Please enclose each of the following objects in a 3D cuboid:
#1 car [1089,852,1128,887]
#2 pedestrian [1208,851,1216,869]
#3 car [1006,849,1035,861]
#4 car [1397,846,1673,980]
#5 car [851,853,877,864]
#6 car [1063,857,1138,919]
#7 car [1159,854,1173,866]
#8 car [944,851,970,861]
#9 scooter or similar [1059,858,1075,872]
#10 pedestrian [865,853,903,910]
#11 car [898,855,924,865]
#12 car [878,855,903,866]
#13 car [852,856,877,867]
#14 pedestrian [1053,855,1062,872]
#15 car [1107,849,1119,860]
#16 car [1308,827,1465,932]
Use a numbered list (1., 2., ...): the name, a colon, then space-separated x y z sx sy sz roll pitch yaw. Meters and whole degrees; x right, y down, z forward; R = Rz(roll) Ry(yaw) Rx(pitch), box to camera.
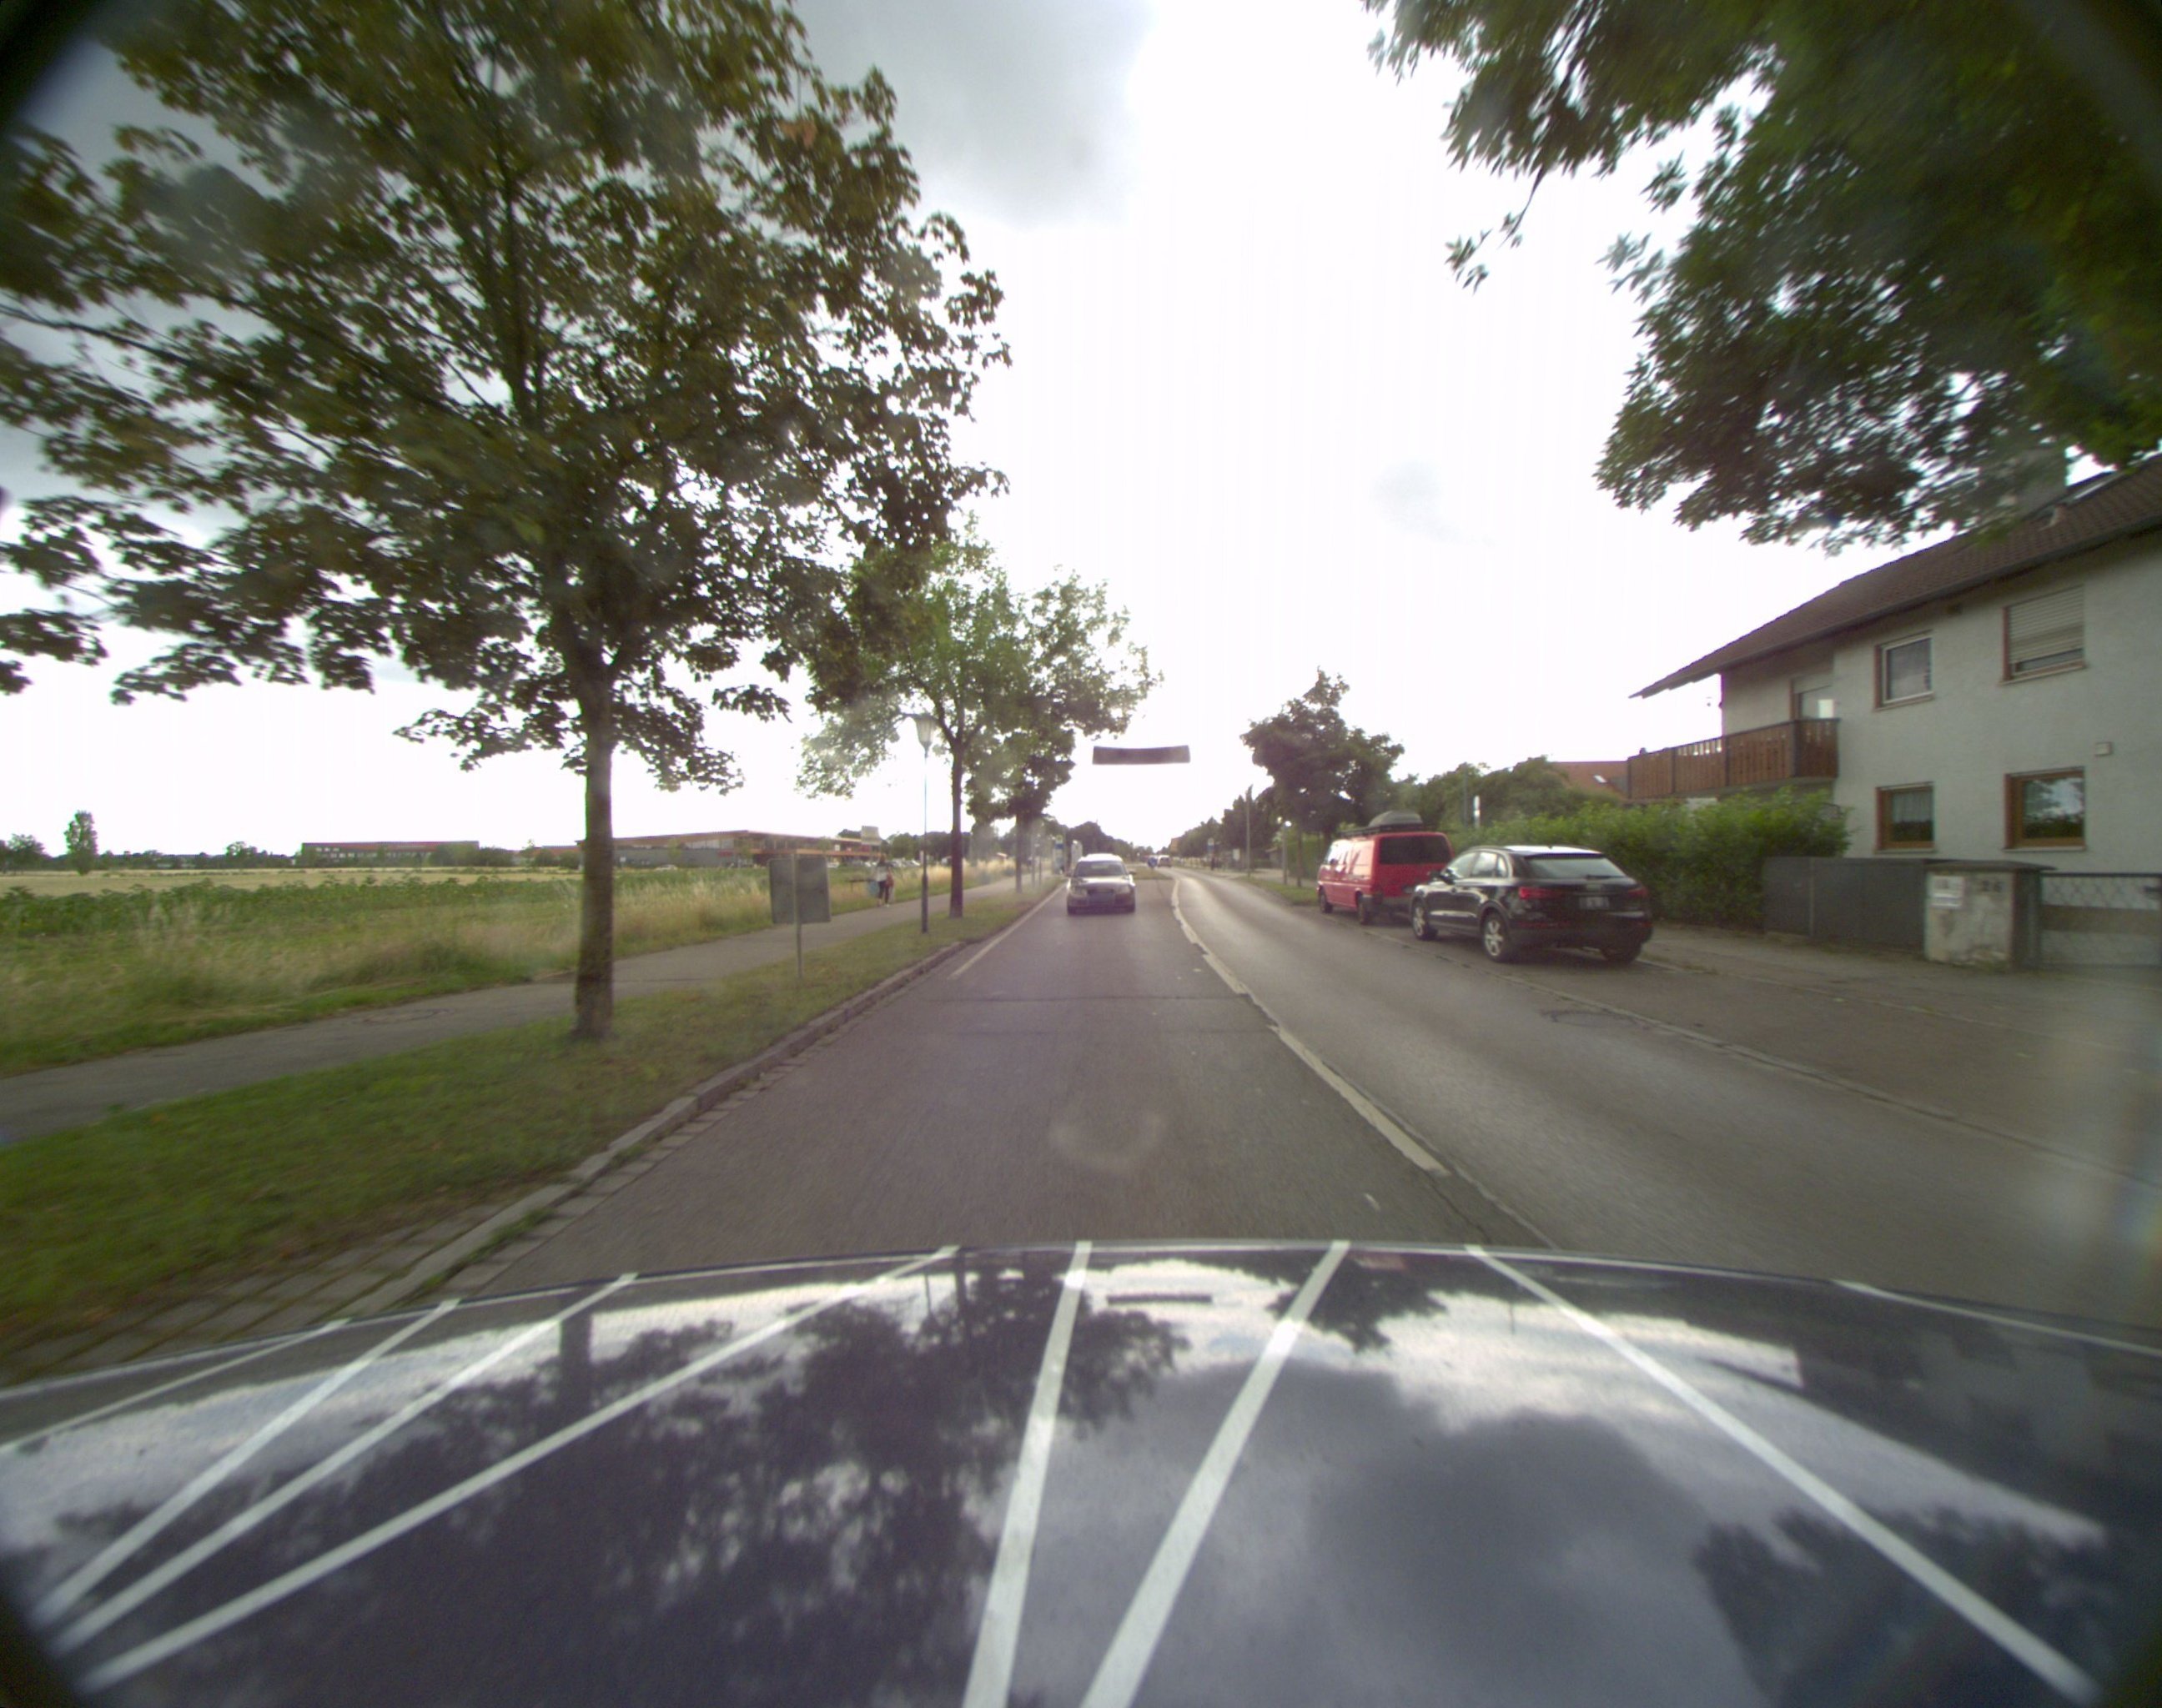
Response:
1. car: 1.379 0.720 37.562 1.763 1.495 4.692 -3 0 3
2. pedestrian: 11.688 0.545 67.675 0.589 1.627 0.813 -1 0 2
3. car: -11.652 0.237 147.137 5.526 2.002 1.999 -2 1 -3
4. car: 6.421 0.733 11.408 1.775 1.588 4.239 -2 0 4
5. car: -45.435 0.897 159.263 4.857 2.002 1.999 -2 1 -5
6. car: 0.578 0.835 20.738 1.763 1.410 4.521 -3 0 3
7. car: 11.394 0.790 101.871 1.710 1.523 3.509 1 0 5
8. car: -27.978 0.482 171.687 5.526 2.002 1.999 -2 1 -3
9. scooter or similar: -1.113 0.839 59.837 0.707 1.056 1.062 -2 1 40
10. pedestrian: -6.226 0.849 24.078 0.839 1.745 0.870 -1 1 8
11. car: -39.659 1.443 177.091 5.526 2.002 1.999 -2 1 -3
12. car: -40.627 1.360 162.182 4.857 2.002 1.999 -2 1 -5
13. car: -47.223 1.615 165.720 4.857 2.002 1.999 -2 1 -5
14. pedestrian: -1.839 0.761 59.467 0.666 1.295 0.505 -3 1 3
15. car: 5.689 0.092 136.790 1.998 2.002 4.000 0 0 1
16. car: 6.722 0.506 17.383 1.834 2.018 5.047 -1 0 4
